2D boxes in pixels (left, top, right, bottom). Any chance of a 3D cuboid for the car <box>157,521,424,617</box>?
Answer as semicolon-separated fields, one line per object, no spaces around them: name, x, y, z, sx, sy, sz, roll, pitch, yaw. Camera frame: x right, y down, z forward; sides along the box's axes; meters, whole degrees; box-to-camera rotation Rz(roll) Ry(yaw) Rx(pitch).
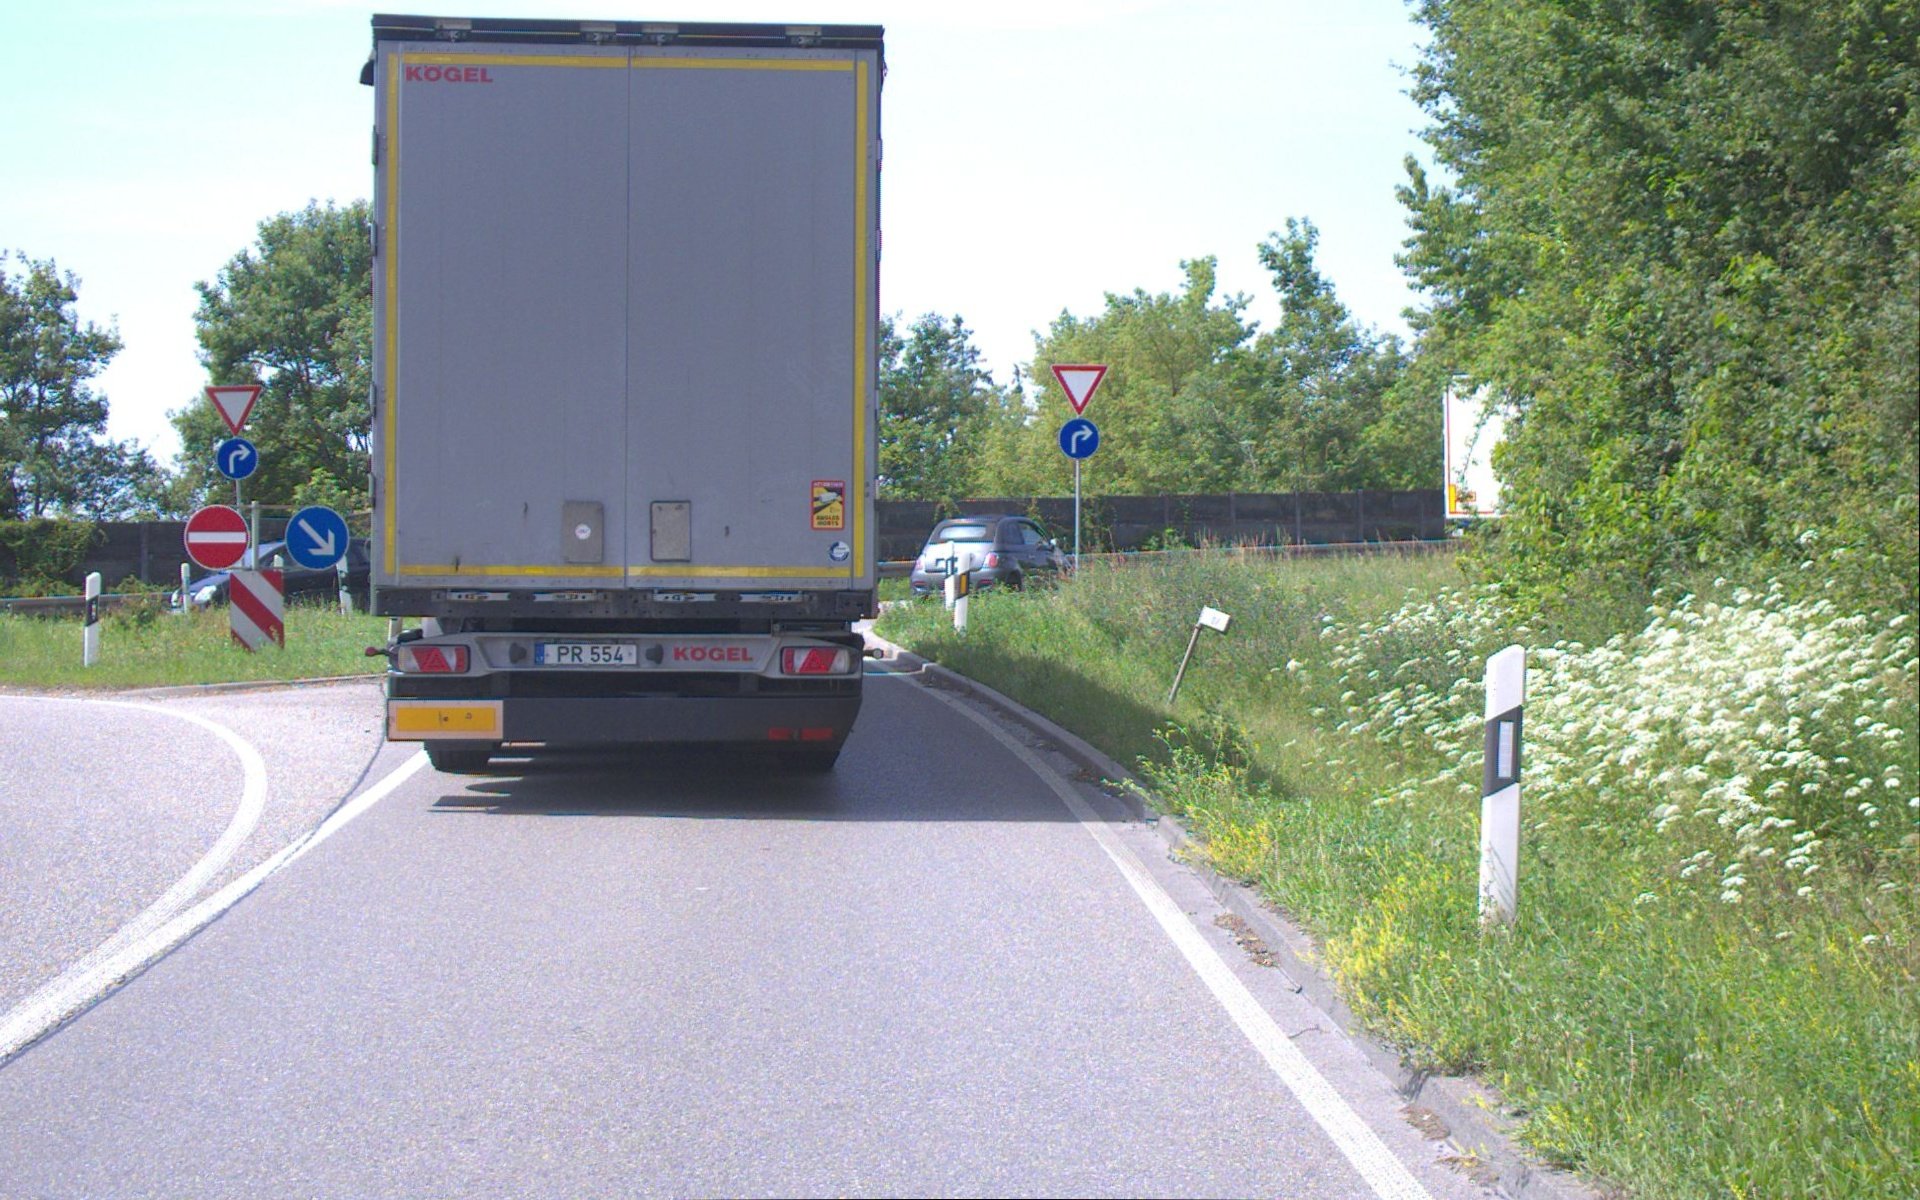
car;-11.460;-0.562;58.936;4.094;1.533;1.755;-2;2;-34

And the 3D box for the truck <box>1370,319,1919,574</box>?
truck;15.396;-3.146;71.230;16.158;4.728;3.839;-2;1;-42

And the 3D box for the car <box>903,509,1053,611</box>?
car;0.324;-0.648;53.500;1.666;1.481;3.999;-1;2;10

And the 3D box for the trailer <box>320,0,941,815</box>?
trailer;-2.026;-1.160;23.575;3.026;4.020;13.355;0;2;-4
